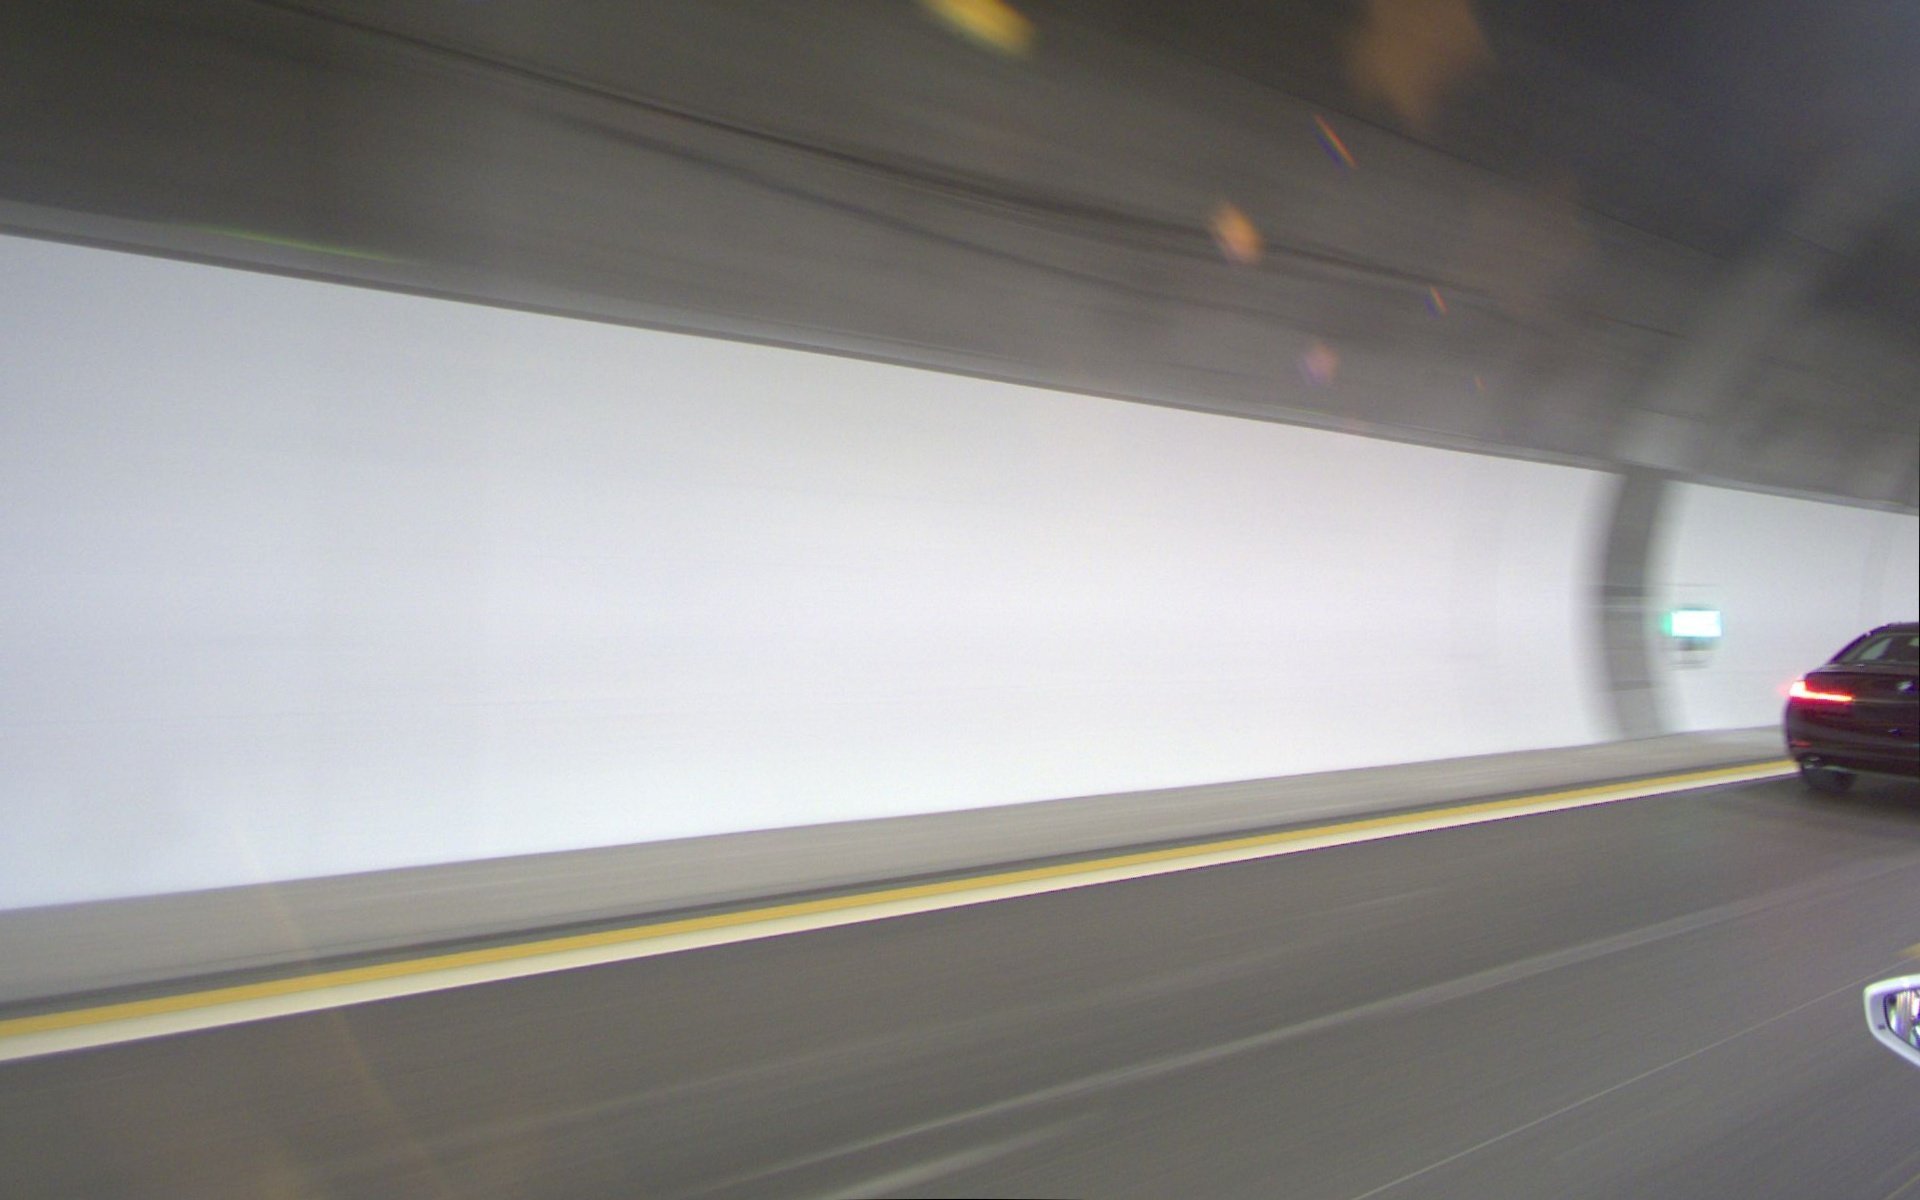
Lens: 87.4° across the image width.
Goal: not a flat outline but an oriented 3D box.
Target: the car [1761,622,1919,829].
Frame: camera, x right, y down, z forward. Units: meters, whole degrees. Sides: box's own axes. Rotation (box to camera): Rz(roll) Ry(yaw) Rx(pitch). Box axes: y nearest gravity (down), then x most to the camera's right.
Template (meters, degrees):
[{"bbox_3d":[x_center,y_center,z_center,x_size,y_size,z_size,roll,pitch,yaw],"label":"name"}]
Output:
[{"bbox_3d":[8.936,0.949,8.461,4.824,1.457,1.770,1,0,-30],"label":"car"}]
